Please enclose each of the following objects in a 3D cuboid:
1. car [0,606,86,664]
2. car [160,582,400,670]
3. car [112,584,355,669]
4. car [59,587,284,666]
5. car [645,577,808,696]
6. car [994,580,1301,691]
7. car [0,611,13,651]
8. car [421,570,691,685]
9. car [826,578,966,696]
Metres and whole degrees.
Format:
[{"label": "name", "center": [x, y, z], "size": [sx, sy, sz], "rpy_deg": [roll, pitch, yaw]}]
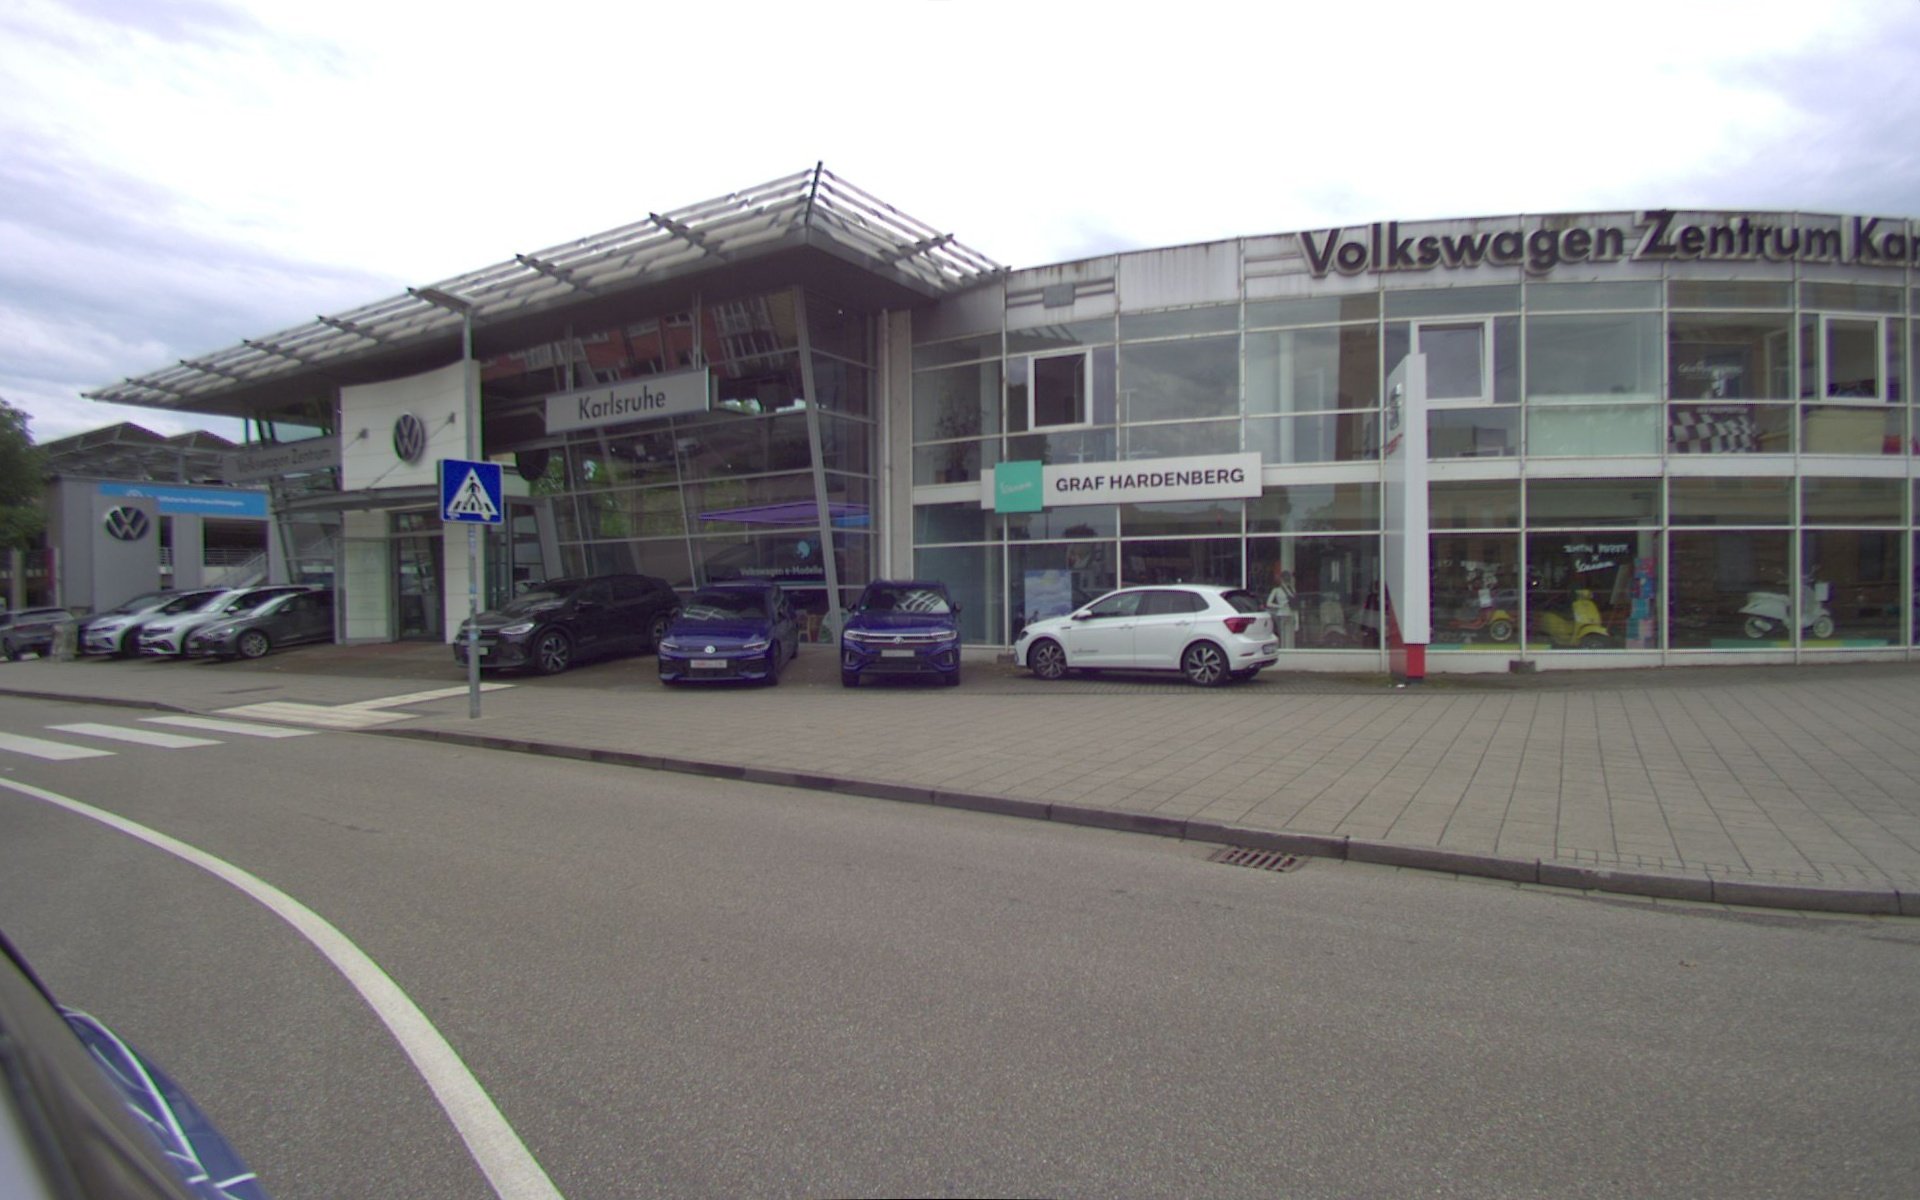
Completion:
[{"label": "car", "center": [-28.393, 1.052, 30.464], "size": [3.998, 1.575, 1.901], "rpy_deg": [-2, 1, 30]}, {"label": "car", "center": [-16.508, 0.558, 24.819], "size": [1.891, 1.709, 4.430], "rpy_deg": [-2, 3, 31]}, {"label": "car", "center": [-18.740, 0.616, 26.379], "size": [1.855, 1.712, 4.726], "rpy_deg": [-2, 3, 31]}, {"label": "car", "center": [-21.458, 0.655, 27.745], "size": [1.864, 1.712, 4.429], "rpy_deg": [-2, 3, 32]}, {"label": "car", "center": [-3.616, 0.462, 16.431], "size": [1.831, 1.515, 4.343], "rpy_deg": [-1, 3, -3]}, {"label": "car", "center": [2.777, 0.496, 15.379], "size": [4.253, 1.463, 1.762], "rpy_deg": [-1, 0, 35]}, {"label": "car", "center": [-39.647, 1.258, 40.091], "size": [4.457, 1.559, 1.880], "rpy_deg": [-1, 1, 30]}, {"label": "car", "center": [-7.220, 0.411, 18.627], "size": [1.851, 1.644, 4.472], "rpy_deg": [-2, 3, 26]}, {"label": "car", "center": [-0.918, 0.472, 15.855], "size": [1.874, 1.574, 4.222], "rpy_deg": [-1, 1, -1]}]
